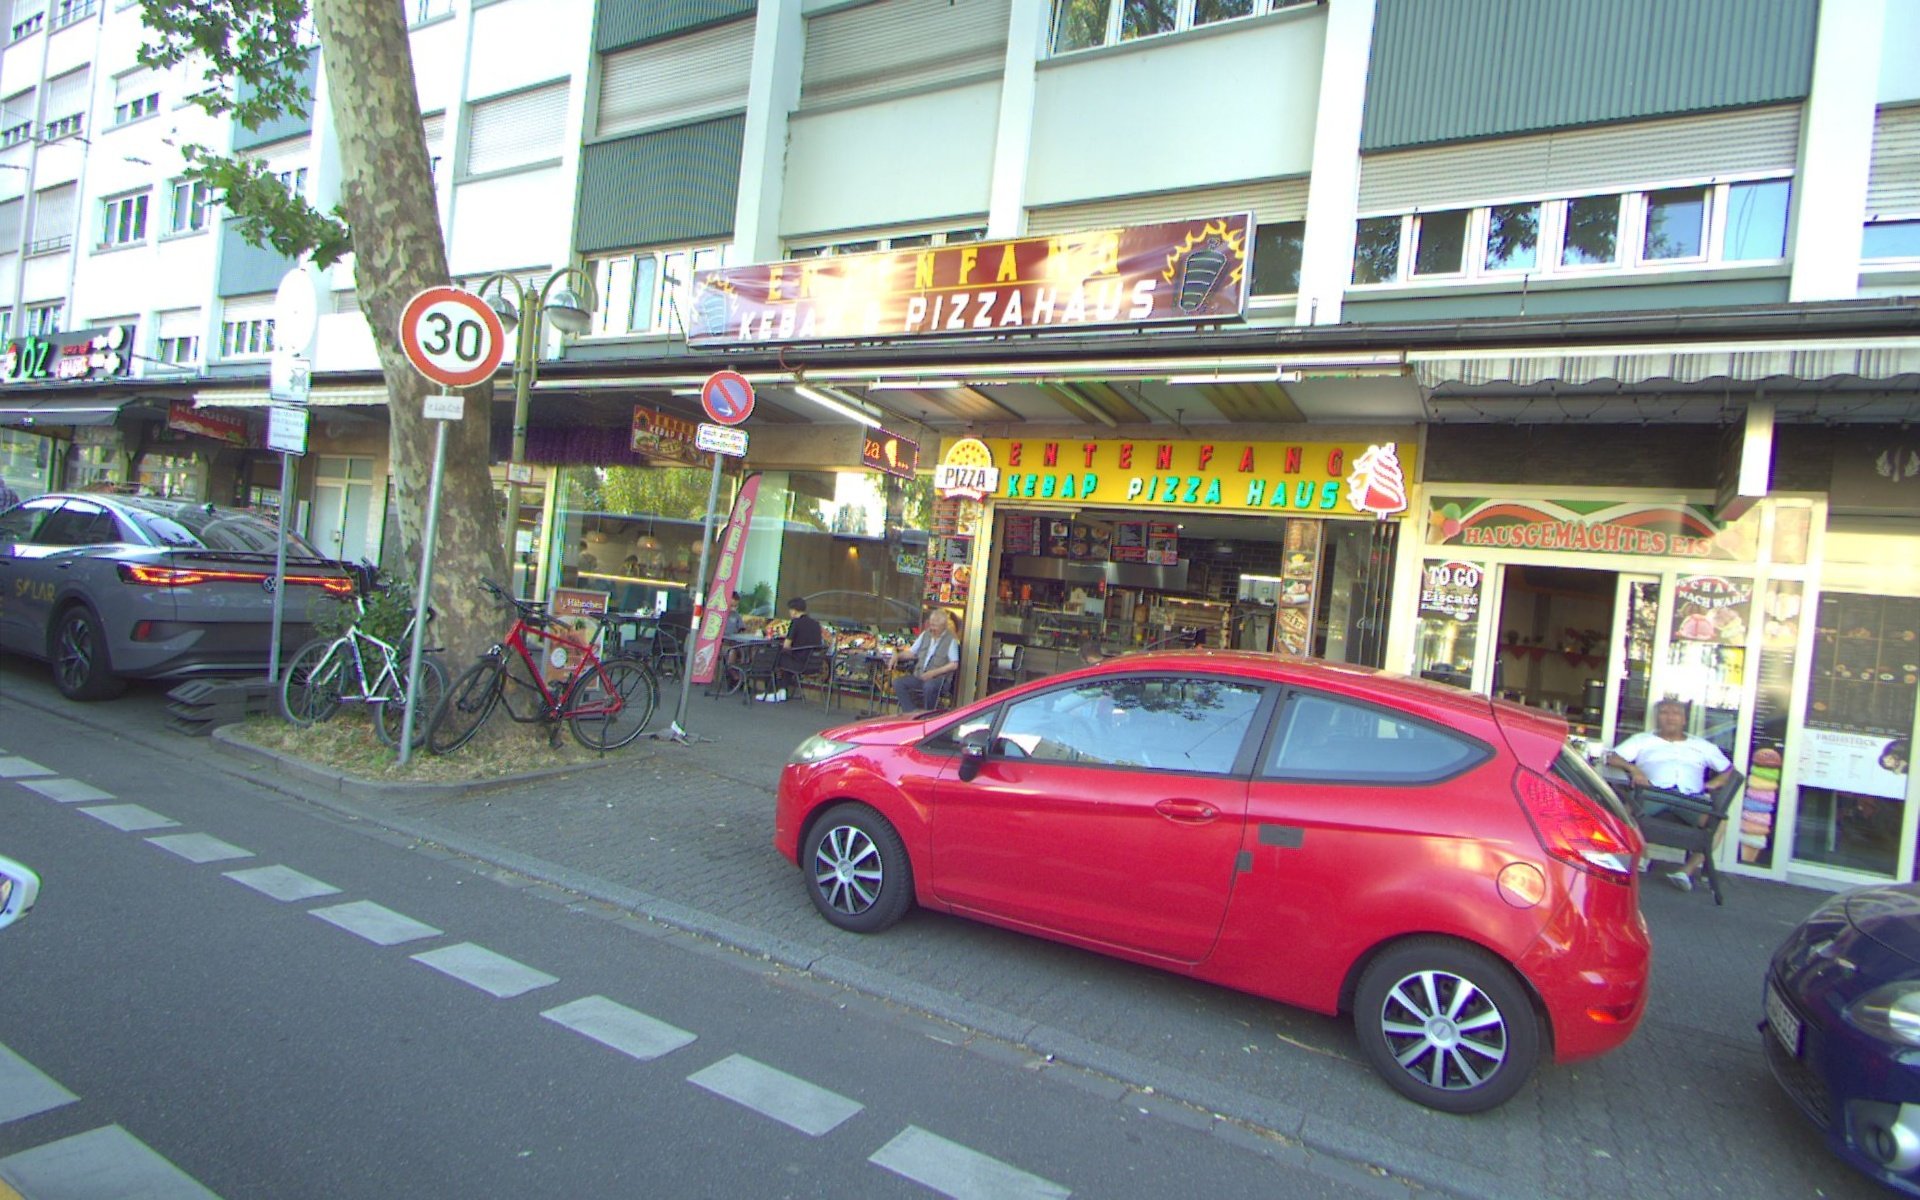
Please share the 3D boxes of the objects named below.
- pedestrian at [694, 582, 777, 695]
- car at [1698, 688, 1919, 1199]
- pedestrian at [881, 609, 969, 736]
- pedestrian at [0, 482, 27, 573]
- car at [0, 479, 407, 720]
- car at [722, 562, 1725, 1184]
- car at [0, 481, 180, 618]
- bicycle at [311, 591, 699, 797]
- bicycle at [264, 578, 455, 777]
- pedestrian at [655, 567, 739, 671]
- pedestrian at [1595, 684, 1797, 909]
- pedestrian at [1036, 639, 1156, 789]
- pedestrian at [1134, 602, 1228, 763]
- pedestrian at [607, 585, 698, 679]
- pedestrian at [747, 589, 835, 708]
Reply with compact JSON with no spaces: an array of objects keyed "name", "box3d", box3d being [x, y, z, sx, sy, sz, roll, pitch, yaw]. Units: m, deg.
[{"name":"pedestrian","box3d":[-2.690,0.459,12.038,0.680,1.261,0.557,7,2,38]},{"name":"car","box3d":[4.384,1.269,2.681,3.549,1.488,1.767,6,3,29]},{"name":"pedestrian","box3d":[-0.366,0.756,10.725,0.550,1.252,0.689,7,2,29]},{"name":"pedestrian","box3d":[-18.290,-1.405,19.170,0.661,1.688,0.593,4,2,-42]},{"name":"car","box3d":[-7.334,-0.130,9.067,4.292,1.603,1.996,7,2,27]},{"name":"car","box3d":[0.977,0.820,4.722,3.757,1.617,1.783,6,3,28]},{"name":"car","box3d":[-13.212,-0.814,14.044,4.292,1.603,1.996,7,2,27]},{"name":"bicycle","box3d":[-3.001,0.562,6.905,0.547,1.171,2.377,7,4,44]},{"name":"bicycle","box3d":[-4.223,0.509,7.044,1.421,1.169,0.553,6,0,36]},{"name":"pedestrian","box3d":[-3.758,0.262,14.445,0.958,1.350,0.830,6,0,-9]},{"name":"pedestrian","box3d":[5.252,1.343,7.275,0.937,1.352,1.069,7,0,30]},{"name":"pedestrian","box3d":[1.255,1.014,9.225,0.798,1.225,0.654,7,2,28]},{"name":"pedestrian","box3d":[2.321,0.852,10.530,0.589,1.566,0.700,7,0,34]},{"name":"pedestrian","box3d":[-3.967,0.406,13.044,0.940,1.094,0.639,7,0,-9]},{"name":"pedestrian","box3d":[-1.932,0.549,11.506,0.679,1.261,0.558,7,2,33]}]
